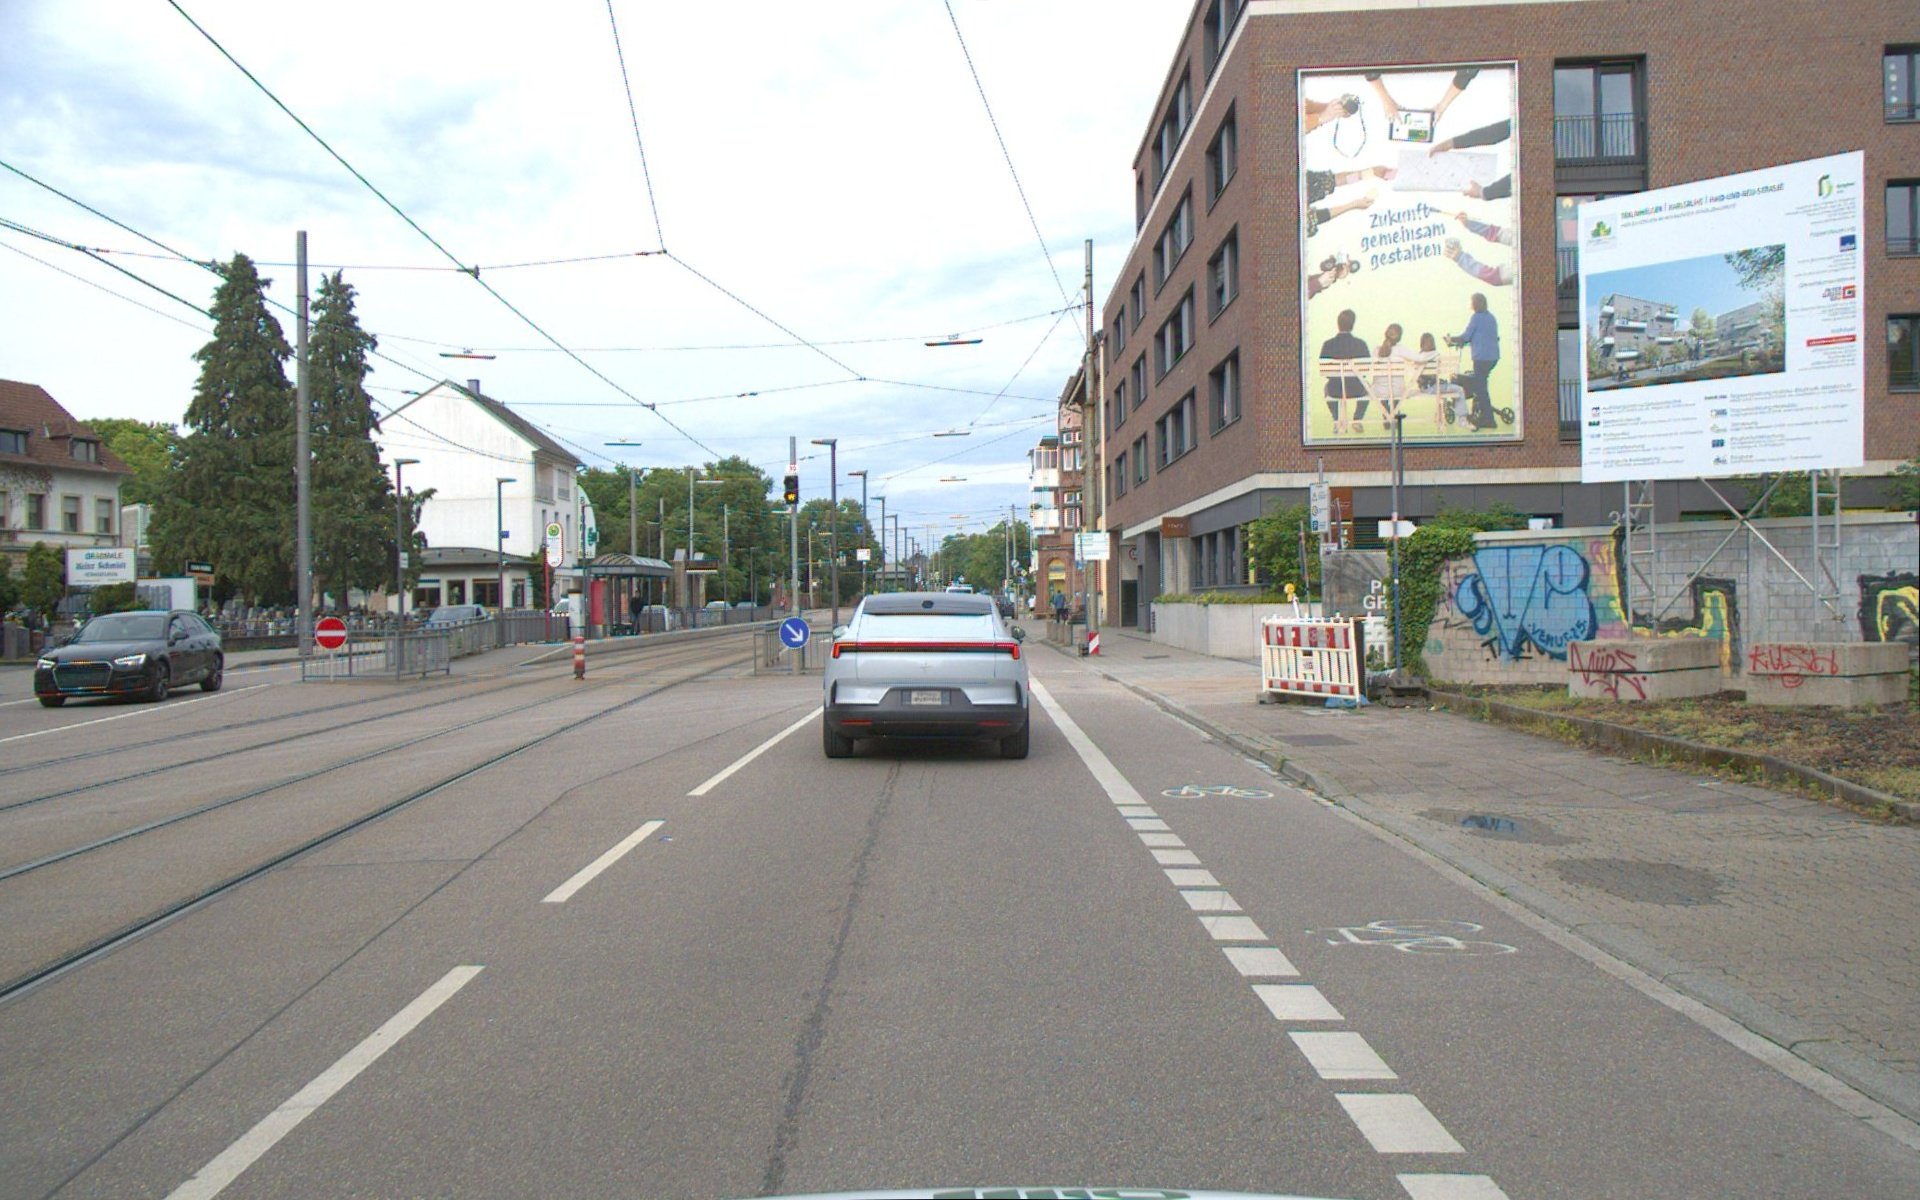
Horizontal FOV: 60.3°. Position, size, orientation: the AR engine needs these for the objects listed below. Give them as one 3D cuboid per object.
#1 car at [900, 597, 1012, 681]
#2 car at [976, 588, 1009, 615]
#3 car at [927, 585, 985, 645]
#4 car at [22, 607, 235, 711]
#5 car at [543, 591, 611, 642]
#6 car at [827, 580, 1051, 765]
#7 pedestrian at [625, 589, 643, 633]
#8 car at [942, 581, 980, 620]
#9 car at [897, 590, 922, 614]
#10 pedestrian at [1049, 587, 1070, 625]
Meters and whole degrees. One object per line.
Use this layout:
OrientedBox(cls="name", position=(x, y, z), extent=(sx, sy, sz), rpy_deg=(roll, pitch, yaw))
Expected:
OrientedBox(cls="car", position=(-0.114, 0.686, 31.337), extent=(1.953, 1.444, 3.999), rpy_deg=(-2, 0, -1))
OrientedBox(cls="car", position=(2.583, 0.117, 130.677), extent=(1.951, 2.049, 4.003), rpy_deg=(0, 0, 10))
OrientedBox(cls="car", position=(-0.101, 0.456, 49.472), extent=(1.646, 1.717, 3.823), rpy_deg=(0, 0, 0))
OrientedBox(cls="car", position=(-13.714, 0.904, 27.611), extent=(1.870, 1.498, 4.807), rpy_deg=(-2, 0, -11))
OrientedBox(cls="car", position=(-16.050, 0.675, 69.520), extent=(1.846, 2.023, 4.524), rpy_deg=(-2, 0, -2))
OrientedBox(cls="car", position=(-0.324, 0.646, 16.445), extent=(1.960, 1.608, 3.996), rpy_deg=(0, -1, -4))
OrientedBox(cls="pedestrian", position=(-12.429, 0.416, 63.112), extent=(0.606, 1.694, 0.693), rpy_deg=(0, -1, -19))
OrientedBox(cls="car", position=(0.031, 0.050, 106.427), extent=(2.182, 2.444, 5.119), rpy_deg=(0, 0, -3))
OrientedBox(cls="car", position=(-4.372, 0.179, 142.507), extent=(1.955, 2.049, 3.996), rpy_deg=(-2, 0, -5))
OrientedBox(cls="pedestrian", position=(5.166, 0.298, 85.886), extent=(0.940, 1.882, 0.976), rpy_deg=(-3, 1, 6))
